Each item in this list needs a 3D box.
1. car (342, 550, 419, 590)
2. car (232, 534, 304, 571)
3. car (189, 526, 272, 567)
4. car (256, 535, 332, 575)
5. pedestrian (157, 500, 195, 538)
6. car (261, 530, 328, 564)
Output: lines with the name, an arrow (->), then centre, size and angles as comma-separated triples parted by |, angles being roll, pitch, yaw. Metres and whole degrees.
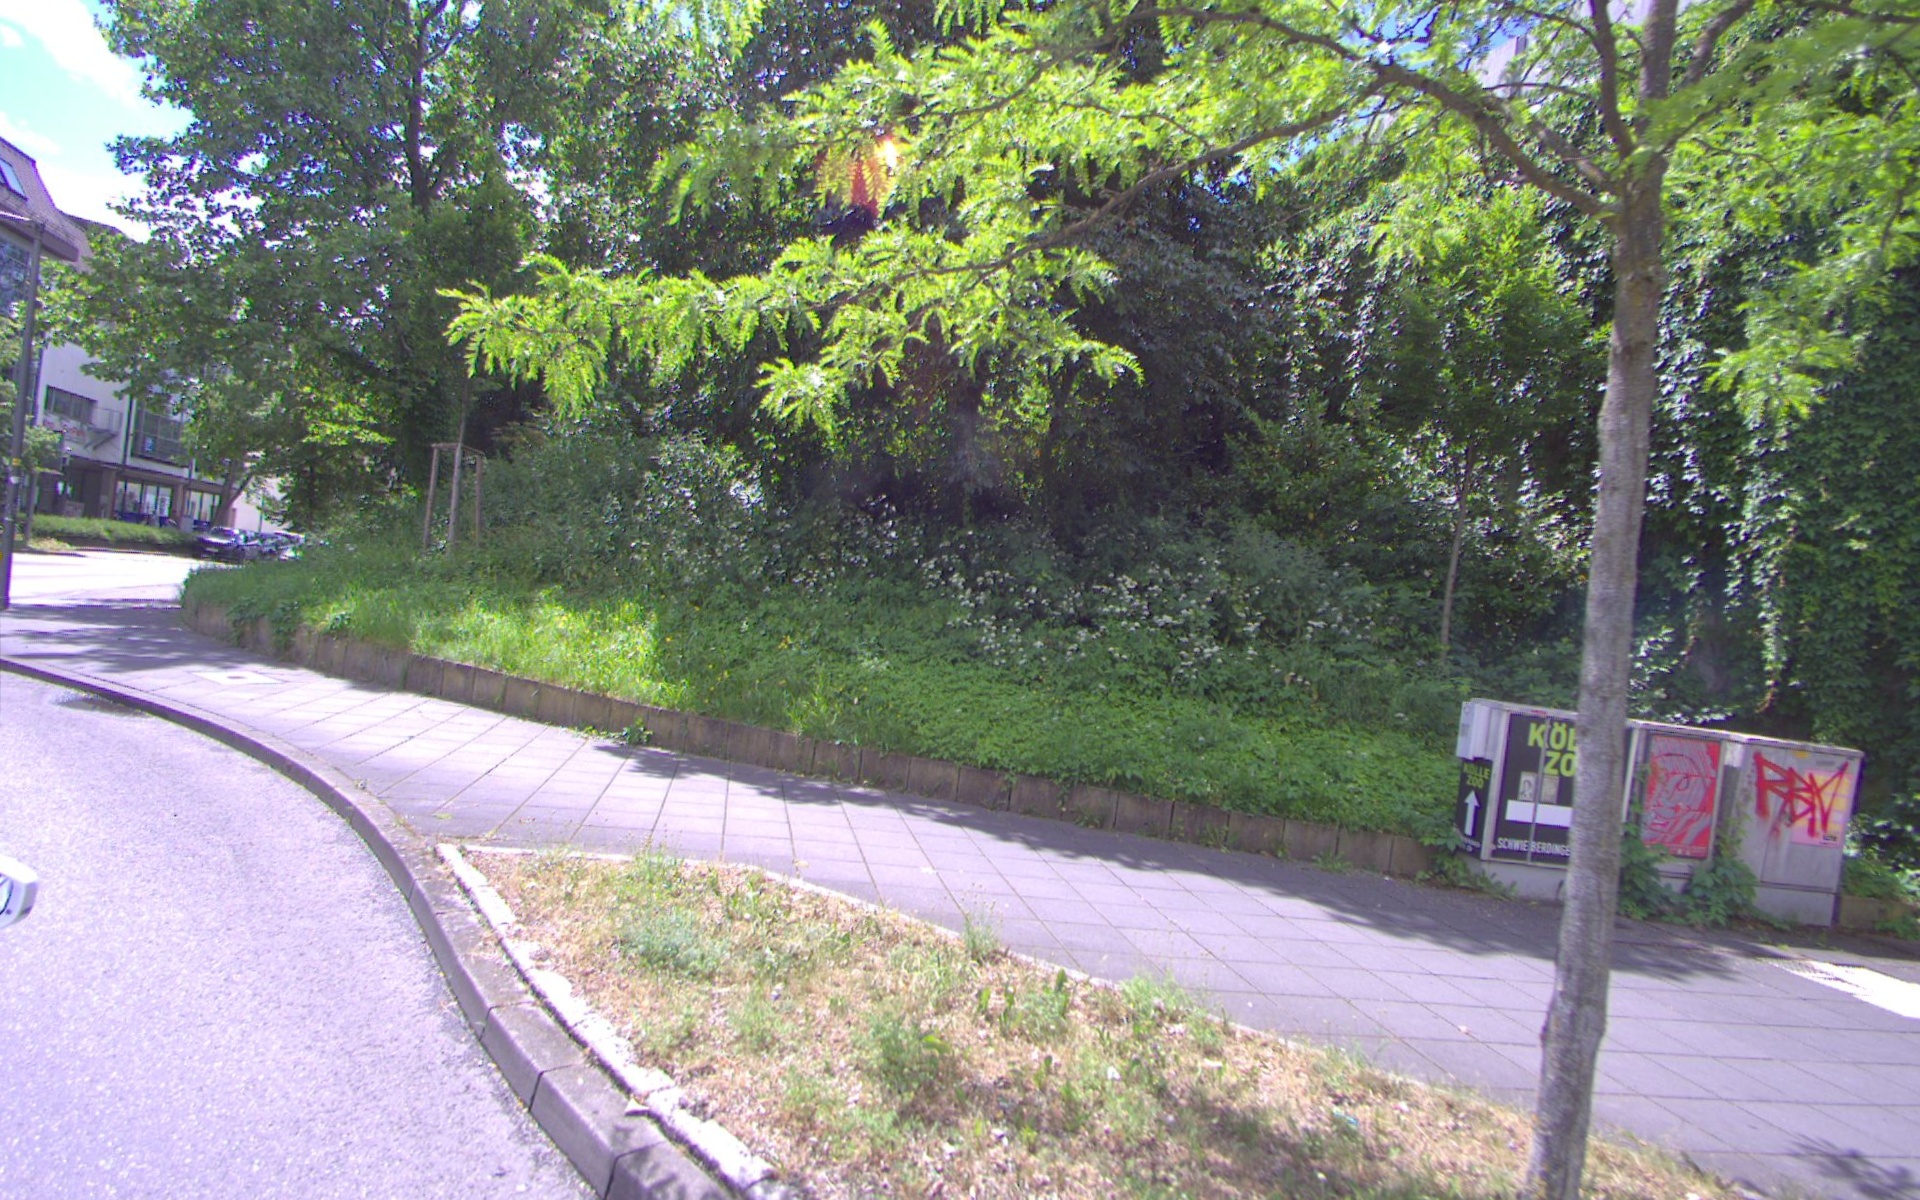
car -> -22.854, -1.149, 39.807 | 1.730, 1.347, 3.986 | 5, 0, -17
car -> -36.539, -2.483, 53.252 | 1.974, 1.525, 4.563 | 8, -2, -22
car -> -35.002, -2.508, 48.424 | 1.974, 1.525, 4.563 | 8, -2, -22
car -> -31.909, -2.120, 48.361 | 1.974, 1.525, 4.563 | 8, -2, -22
pedestrian -> -47.675, -4.931, 61.200 | 1.331, 2.037, 1.083 | 7, -1, -22
car -> -38.692, -3.046, 58.636 | 1.972, 1.525, 4.568 | 8, -2, -18
